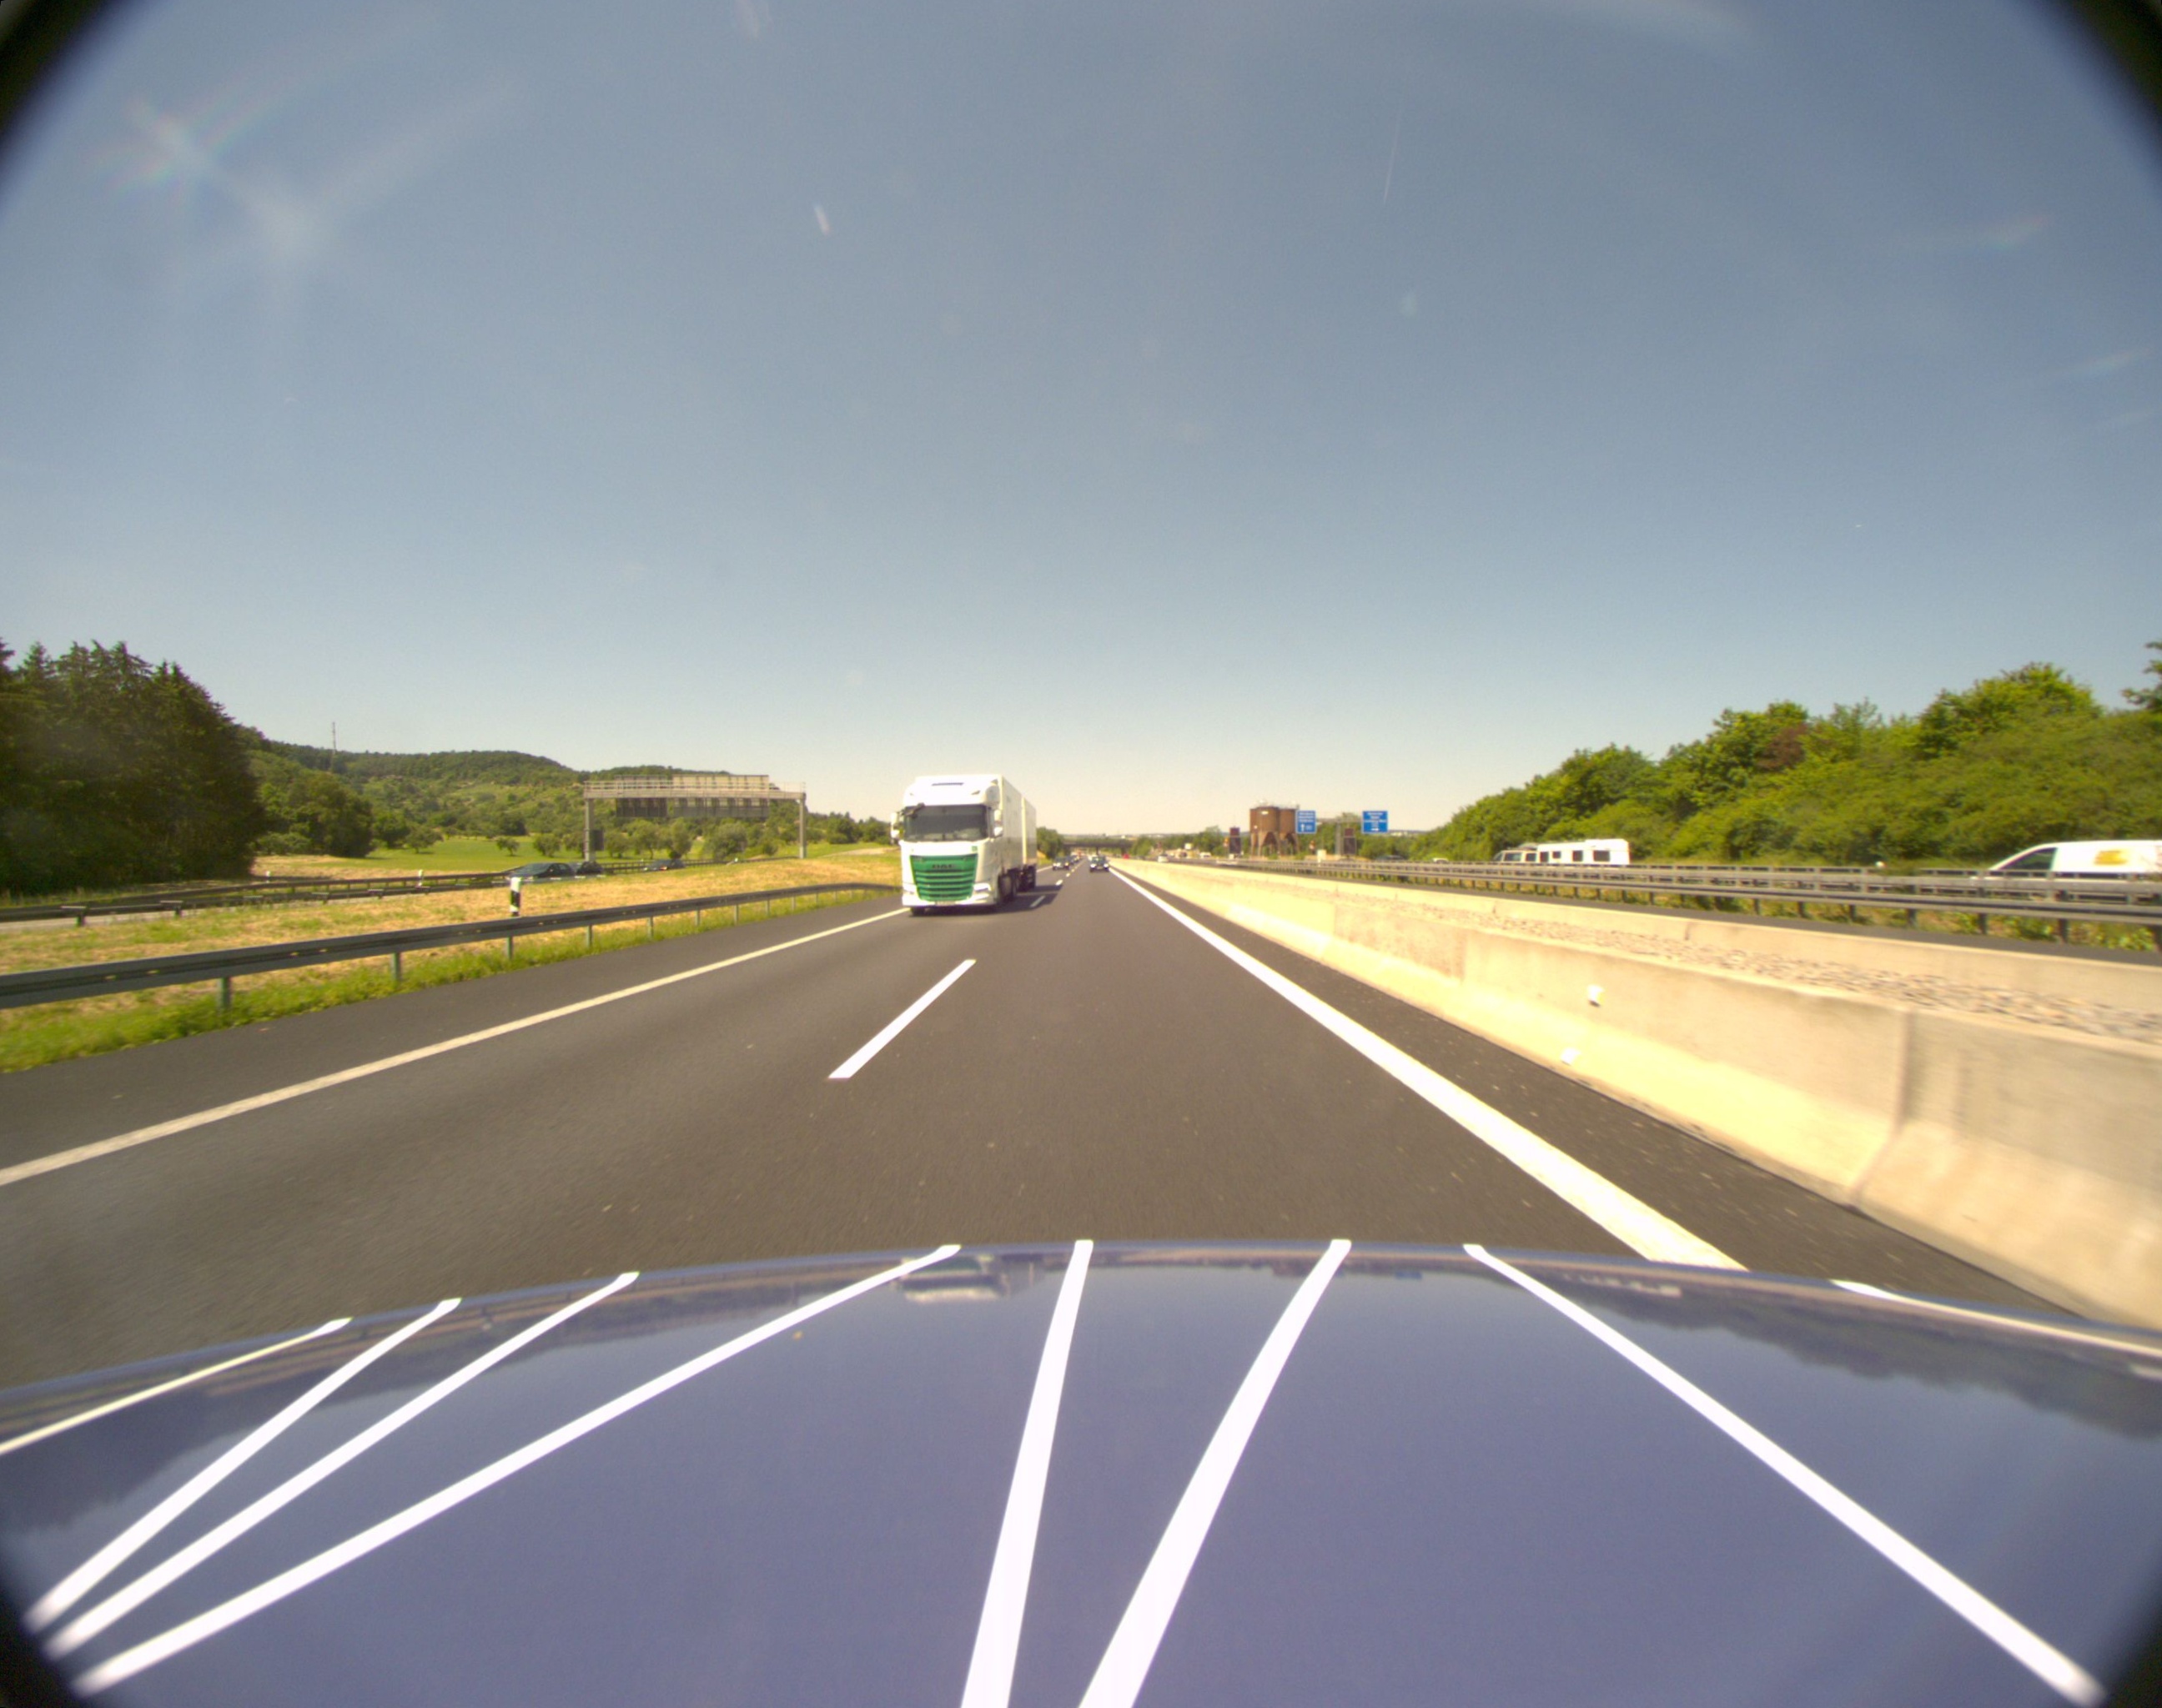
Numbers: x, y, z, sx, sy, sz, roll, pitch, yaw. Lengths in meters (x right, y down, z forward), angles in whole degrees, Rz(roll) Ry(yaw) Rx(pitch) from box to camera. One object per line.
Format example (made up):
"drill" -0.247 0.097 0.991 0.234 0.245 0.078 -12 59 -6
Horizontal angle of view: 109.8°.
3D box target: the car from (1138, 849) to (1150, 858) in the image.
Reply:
"car" 11.404 -0.011 138.253 1.799 1.586 4.307 -1 0 -1

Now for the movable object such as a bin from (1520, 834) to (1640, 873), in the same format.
"movable object such as a bin" 28.967 -0.061 44.518 2.513 2.002 6.779 -2 1 0

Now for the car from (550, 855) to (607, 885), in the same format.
"car" -36.663 1.133 55.522 2.000 2.002 3.996 -2 1 -11

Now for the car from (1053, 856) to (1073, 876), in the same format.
"car" -1.969 1.316 83.869 1.998 2.002 3.999 -2 1 1

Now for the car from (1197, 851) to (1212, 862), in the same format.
"car" 30.725 0.594 188.687 2.803 2.487 5.963 1 0 1

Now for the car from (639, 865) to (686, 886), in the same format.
"car" -33.342 1.695 60.596 1.892 1.464 3.864 -2 1 -6

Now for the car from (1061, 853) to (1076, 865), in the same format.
"car" -1.874 0.758 116.143 1.998 1.574 4.000 -3 0 2

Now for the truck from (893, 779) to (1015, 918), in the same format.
"truck" -3.536 -0.170 22.215 2.649 3.572 4.403 -2 1 0

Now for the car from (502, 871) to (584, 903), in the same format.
"car" -27.391 1.653 38.809 1.782 1.392 3.758 -2 1 -7

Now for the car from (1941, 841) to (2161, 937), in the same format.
"car" 24.436 0.737 18.066 1.998 2.002 5.348 -2 1 1

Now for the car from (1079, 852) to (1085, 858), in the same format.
"car" 0.344 0.326 257.598 1.998 2.002 4.000 -1 0 1

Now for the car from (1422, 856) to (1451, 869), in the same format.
"car" 46.628 1.091 99.709 1.997 1.568 4.994 -2 1 7

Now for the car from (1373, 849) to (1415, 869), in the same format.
"car" 25.438 0.376 61.966 1.799 1.501 3.999 -2 1 1

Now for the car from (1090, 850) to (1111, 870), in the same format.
"car" 1.750 0.519 68.734 1.799 1.574 3.999 -2 1 0

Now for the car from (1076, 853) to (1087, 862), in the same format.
"car" 0.080 0.695 155.354 1.998 1.574 4.000 -3 0 2

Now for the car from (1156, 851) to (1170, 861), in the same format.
"car" 15.365 0.308 142.619 1.998 1.831 5.085 1 0 1

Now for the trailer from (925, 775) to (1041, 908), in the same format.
"trailer" -3.520 -0.461 31.850 2.663 4.164 14.893 -2 0 0

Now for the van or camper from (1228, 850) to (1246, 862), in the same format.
"van or camper" 30.497 0.354 148.864 2.112 2.242 6.966 -2 1 1

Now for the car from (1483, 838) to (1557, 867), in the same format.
"car" 29.004 -0.097 50.384 1.999 1.795 4.816 0 0 -1
